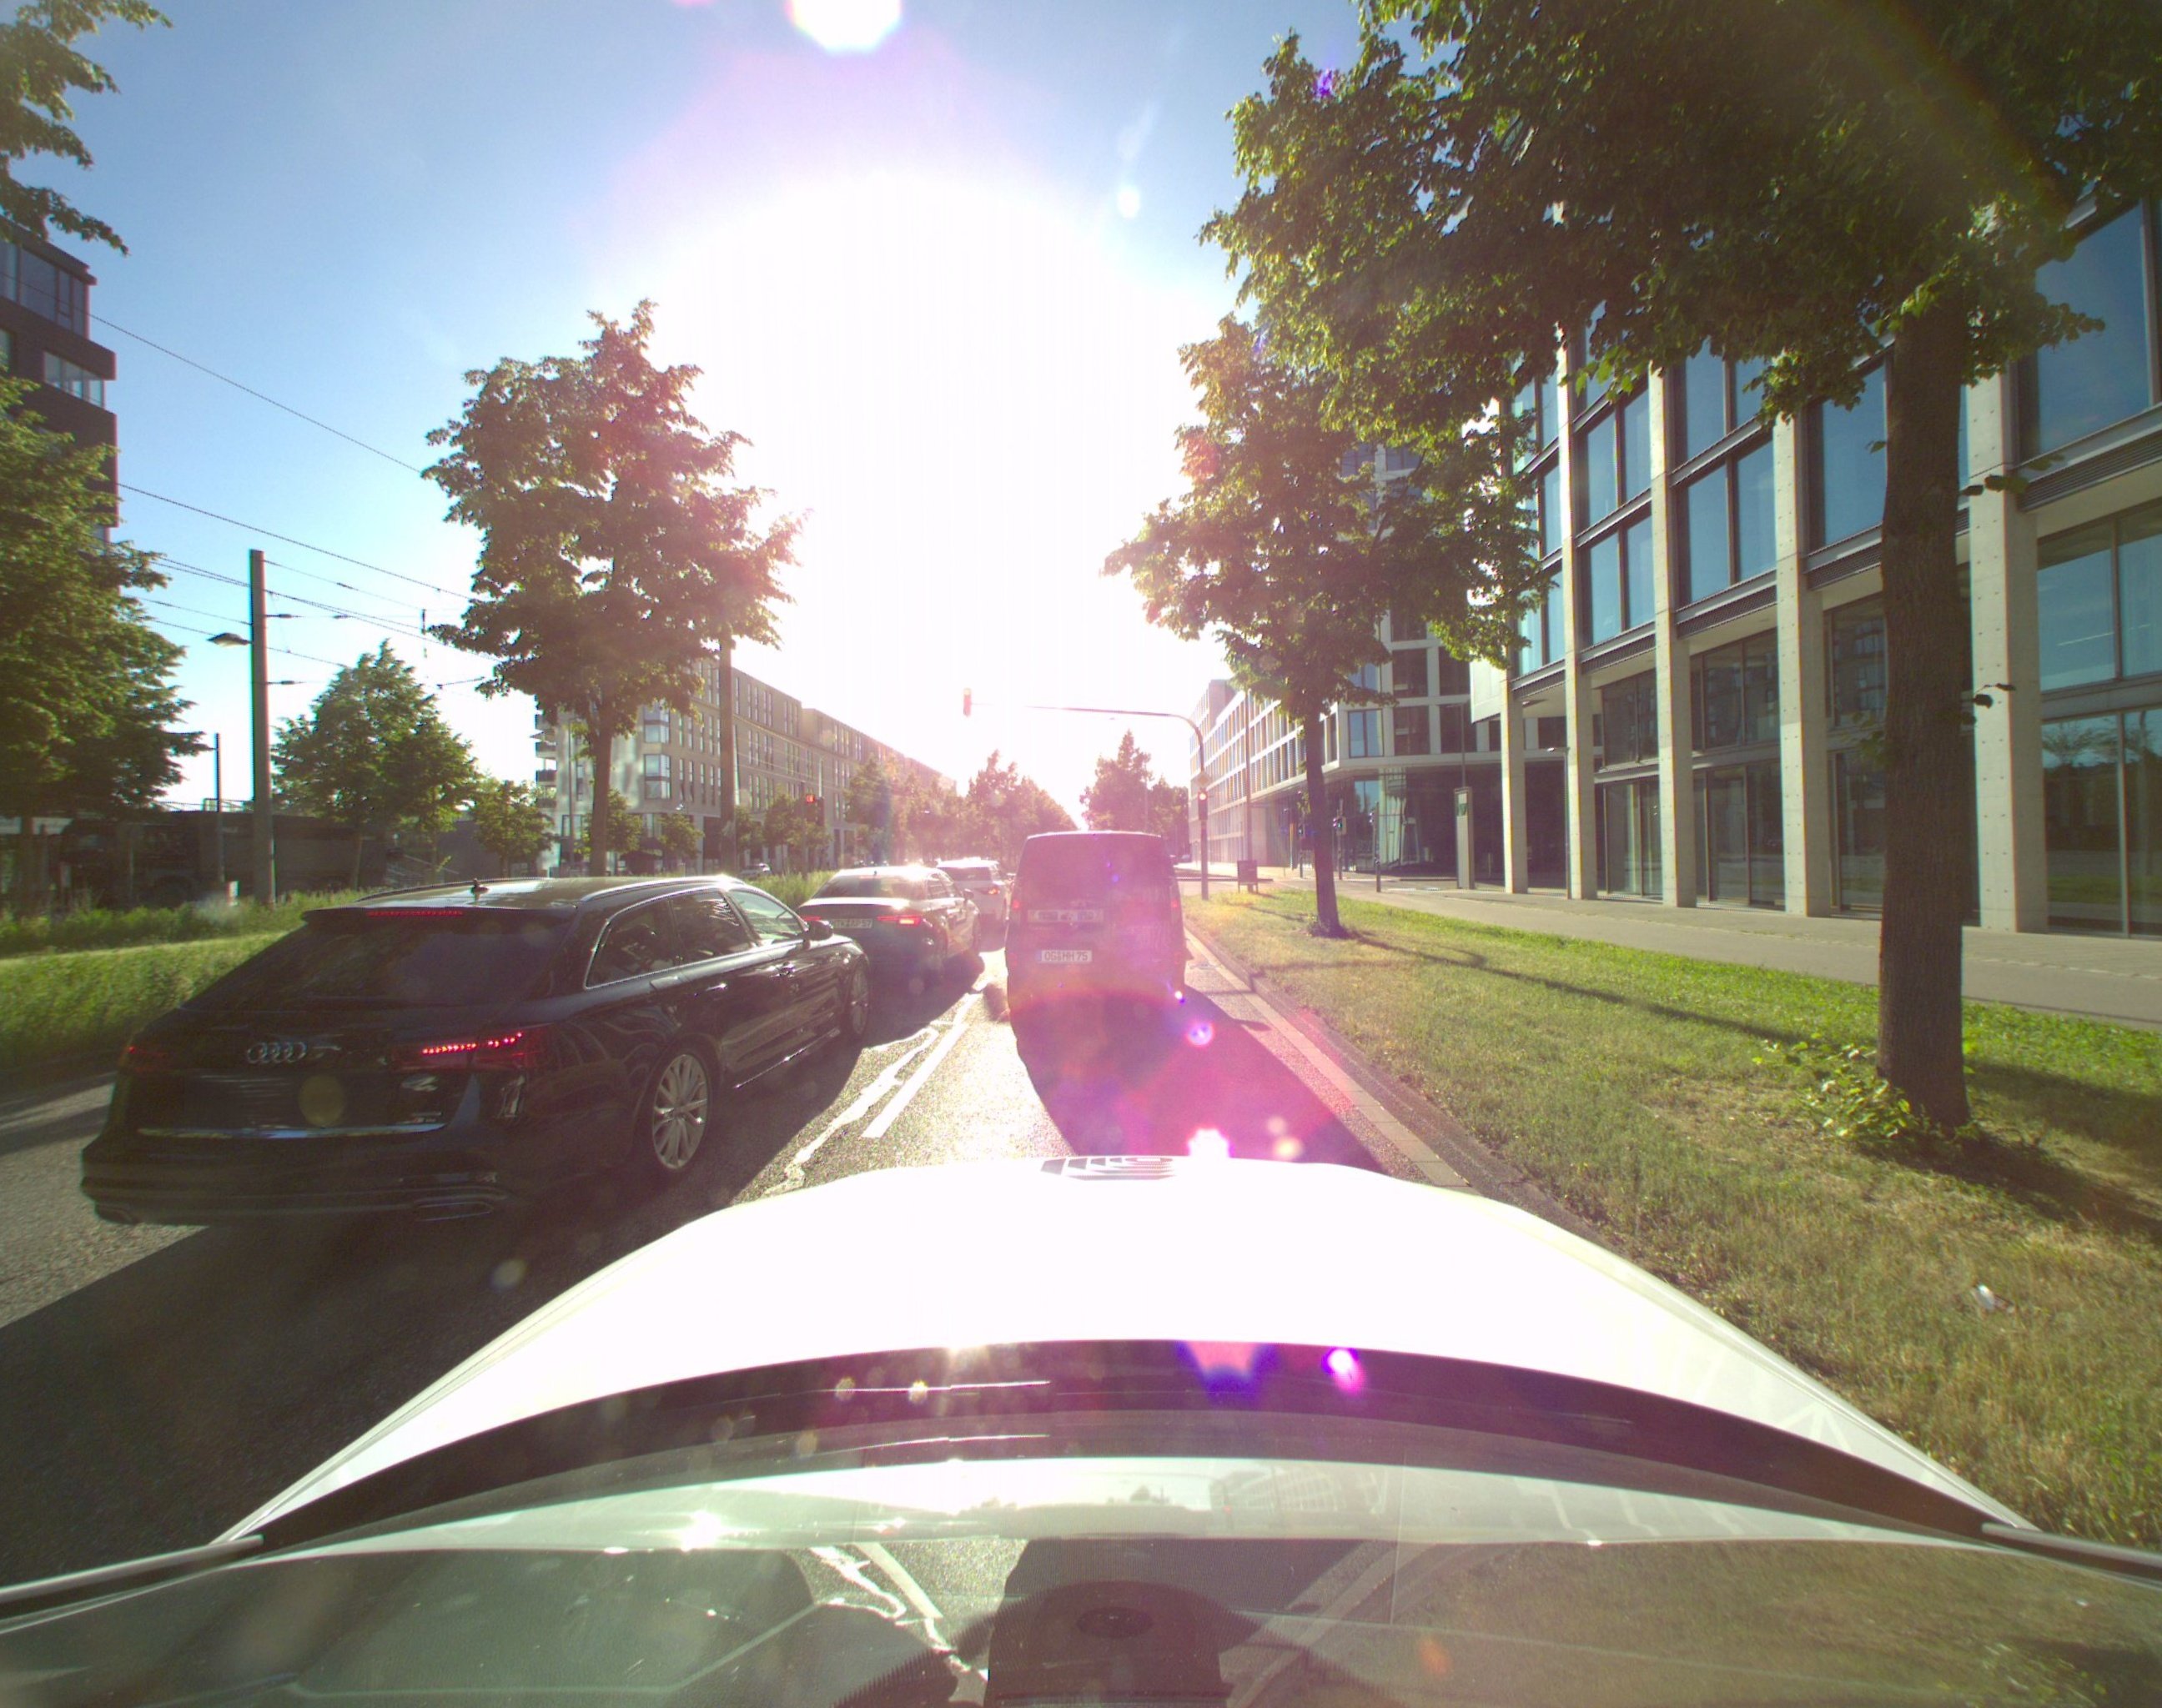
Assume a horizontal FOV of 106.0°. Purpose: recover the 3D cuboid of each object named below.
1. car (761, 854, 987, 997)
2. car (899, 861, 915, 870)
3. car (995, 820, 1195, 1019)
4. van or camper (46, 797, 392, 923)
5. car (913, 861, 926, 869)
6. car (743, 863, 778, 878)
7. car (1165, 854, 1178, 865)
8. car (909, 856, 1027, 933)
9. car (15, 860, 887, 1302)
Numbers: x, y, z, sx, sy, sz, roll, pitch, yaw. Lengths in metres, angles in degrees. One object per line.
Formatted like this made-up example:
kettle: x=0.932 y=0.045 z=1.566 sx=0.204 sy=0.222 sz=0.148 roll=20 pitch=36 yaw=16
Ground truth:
car: x=-2.507 y=0.782 z=10.970 sx=1.801 sy=1.527 sz=4.115 roll=-1 pitch=0 yaw=2
car: x=-29.421 y=1.953 z=137.724 sx=1.769 sy=1.528 sz=3.807 roll=-1 pitch=0 yaw=1
car: x=0.218 y=0.604 z=9.536 sx=1.801 sy=1.794 sz=4.115 roll=-1 pitch=0 yaw=2
van or camper: x=-33.559 y=0.223 z=32.726 sx=2.743 sy=4.192 sz=10.234 roll=-1 pitch=0 yaw=2
car: x=-29.792 y=2.068 z=150.257 sx=1.574 sy=1.342 sz=3.713 roll=-1 pitch=0 yaw=1
car: x=-31.596 y=1.603 z=80.457 sx=1.574 sy=1.342 sz=4.473 roll=-1 pitch=0 yaw=1
car: x=14.213 y=0.806 z=127.734 sx=1.750 sy=1.611 sz=3.906 roll=-1 pitch=0 yaw=3
car: x=-2.307 y=0.778 z=17.686 sx=1.801 sy=1.434 sz=4.115 roll=-1 pitch=0 yaw=2
car: x=-2.726 y=0.804 z=5.071 sx=1.801 sy=1.457 sz=4.509 roll=-1 pitch=0 yaw=2
